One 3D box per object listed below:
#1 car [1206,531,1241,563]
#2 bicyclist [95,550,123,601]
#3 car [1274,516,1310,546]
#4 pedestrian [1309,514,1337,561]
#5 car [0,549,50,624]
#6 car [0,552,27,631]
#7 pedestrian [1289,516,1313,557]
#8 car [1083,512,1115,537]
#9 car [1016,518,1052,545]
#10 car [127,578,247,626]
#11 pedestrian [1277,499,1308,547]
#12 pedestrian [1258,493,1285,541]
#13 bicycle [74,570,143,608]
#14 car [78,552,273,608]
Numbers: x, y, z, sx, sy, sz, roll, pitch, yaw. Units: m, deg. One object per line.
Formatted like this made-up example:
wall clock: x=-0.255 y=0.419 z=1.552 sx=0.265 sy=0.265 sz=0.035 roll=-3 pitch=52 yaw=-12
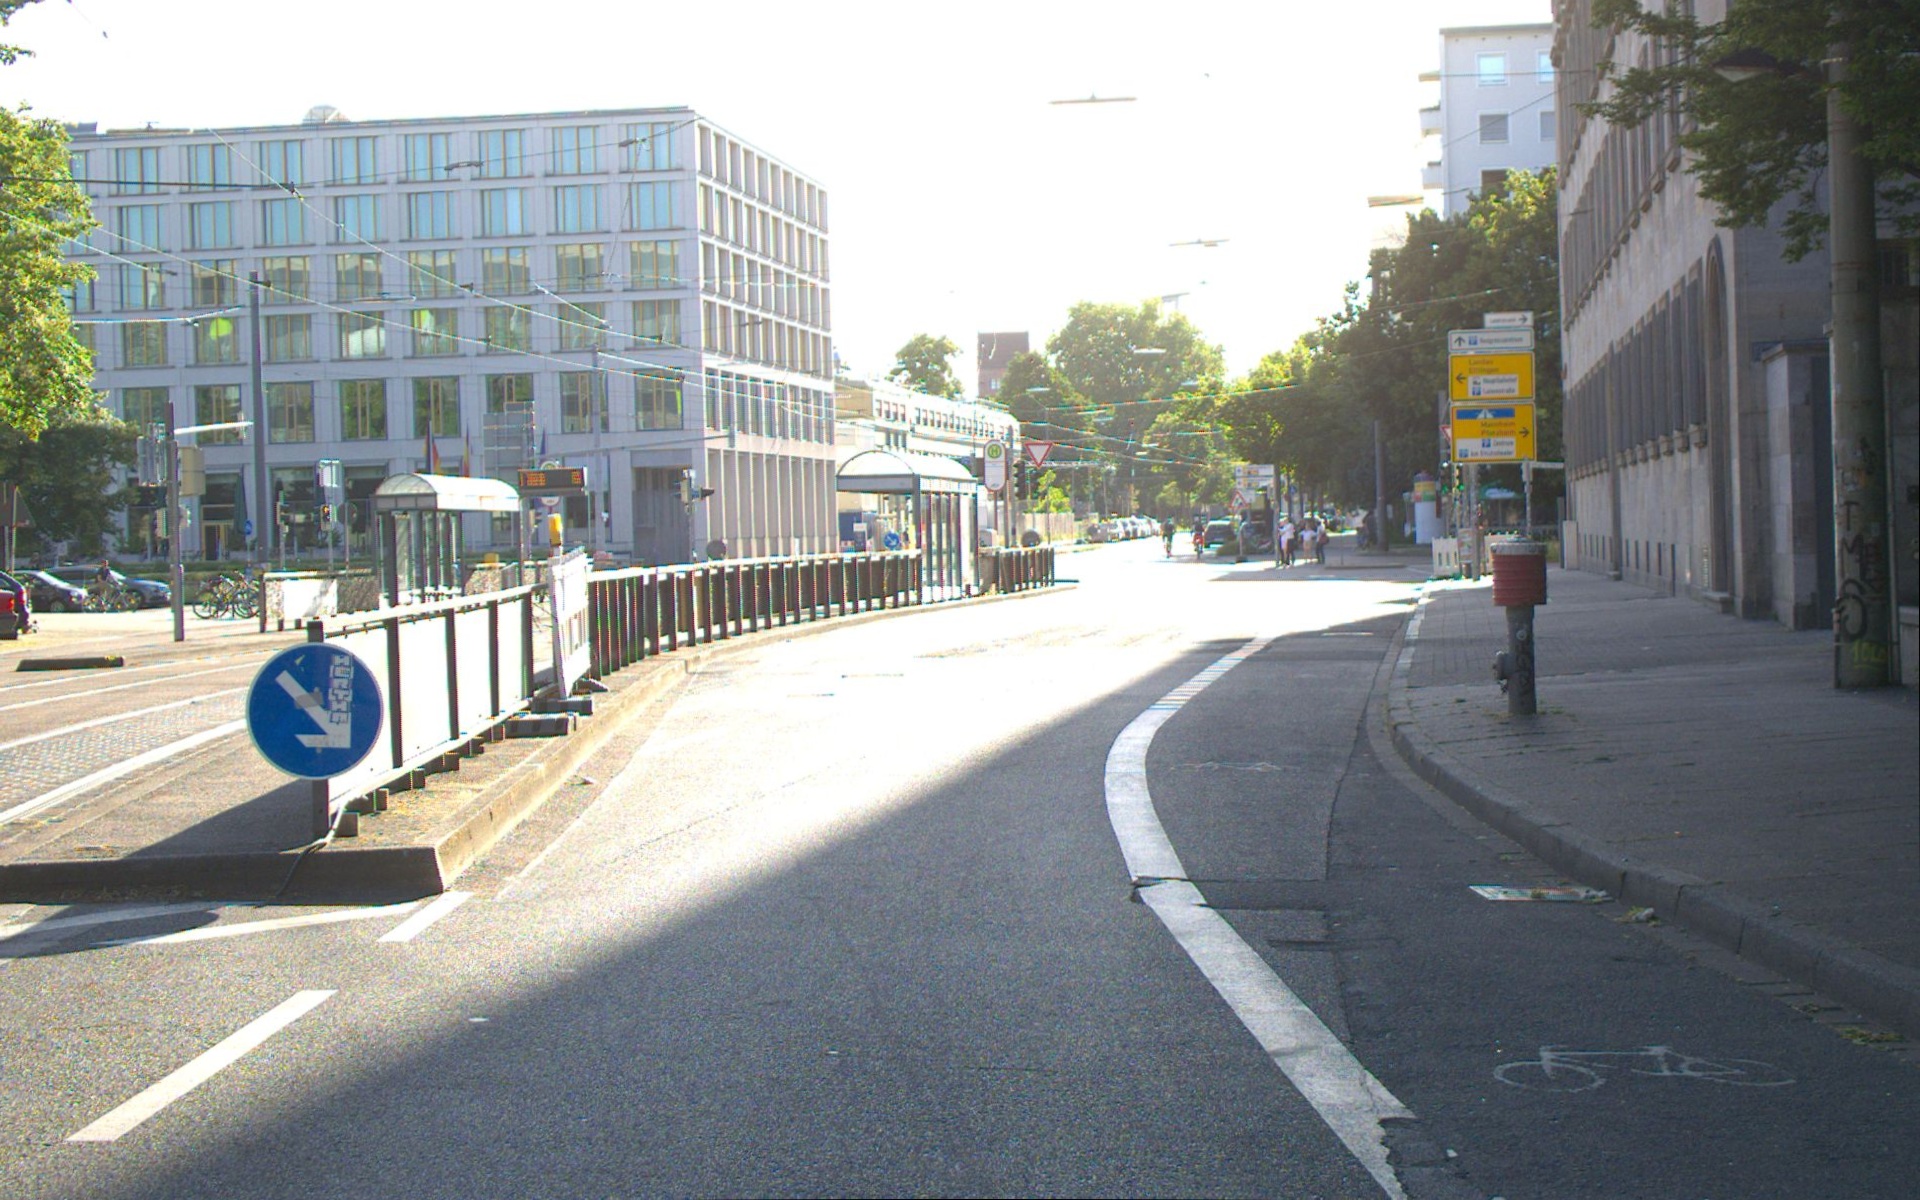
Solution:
car: x=14.381 y=-2.902 z=187.308 sx=1.685 sy=1.731 sz=3.508 roll=0 pitch=1 yaw=8
bicyclist: x=-26.828 y=-0.772 z=108.376 sx=0.618 sy=1.577 sz=0.594 roll=-2 pitch=1 yaw=7
car: x=17.076 y=-3.559 z=176.903 sx=1.685 sy=1.495 sz=3.508 roll=0 pitch=1 yaw=8
pedestrian: x=13.843 y=-2.388 z=131.005 sx=0.847 sy=1.778 sz=0.780 roll=-2 pitch=1 yaw=-8
car: x=-21.633 y=-0.270 z=72.541 sx=4.500 sy=1.564 sz=1.590 roll=-1 pitch=0 yaw=-24
car: x=-19.208 y=-0.128 z=61.505 sx=4.500 sy=1.421 sz=1.873 roll=-1 pitch=0 yaw=-31
pedestrian: x=13.093 y=-2.436 z=131.959 sx=0.762 sy=1.553 sz=0.588 roll=-2 pitch=1 yaw=-8
car: x=9.835 y=-5.344 z=242.931 sx=1.820 sy=1.706 sz=3.804 roll=-2 pitch=1 yaw=8
car: x=4.761 y=-4.409 z=220.687 sx=1.820 sy=1.706 sz=3.804 roll=-2 pitch=1 yaw=8
car: x=-25.616 y=0.068 z=113.939 sx=3.531 sy=1.501 sz=1.522 roll=-1 pitch=1 yaw=6
pedestrian: x=12.546 y=-2.896 z=129.777 sx=0.966 sy=1.778 sz=0.780 roll=-2 pitch=1 yaw=-8
pedestrian: x=11.952 y=-3.180 z=131.889 sx=0.847 sy=1.778 sz=0.780 roll=-2 pitch=1 yaw=-8
bicycle: x=-26.854 y=-0.339 z=108.400 sx=1.924 sy=1.118 sz=0.790 roll=-2 pitch=1 yaw=8
car: x=-19.455 y=-0.492 z=85.296 sx=4.500 sy=1.346 sz=1.590 roll=-1 pitch=0 yaw=-24
